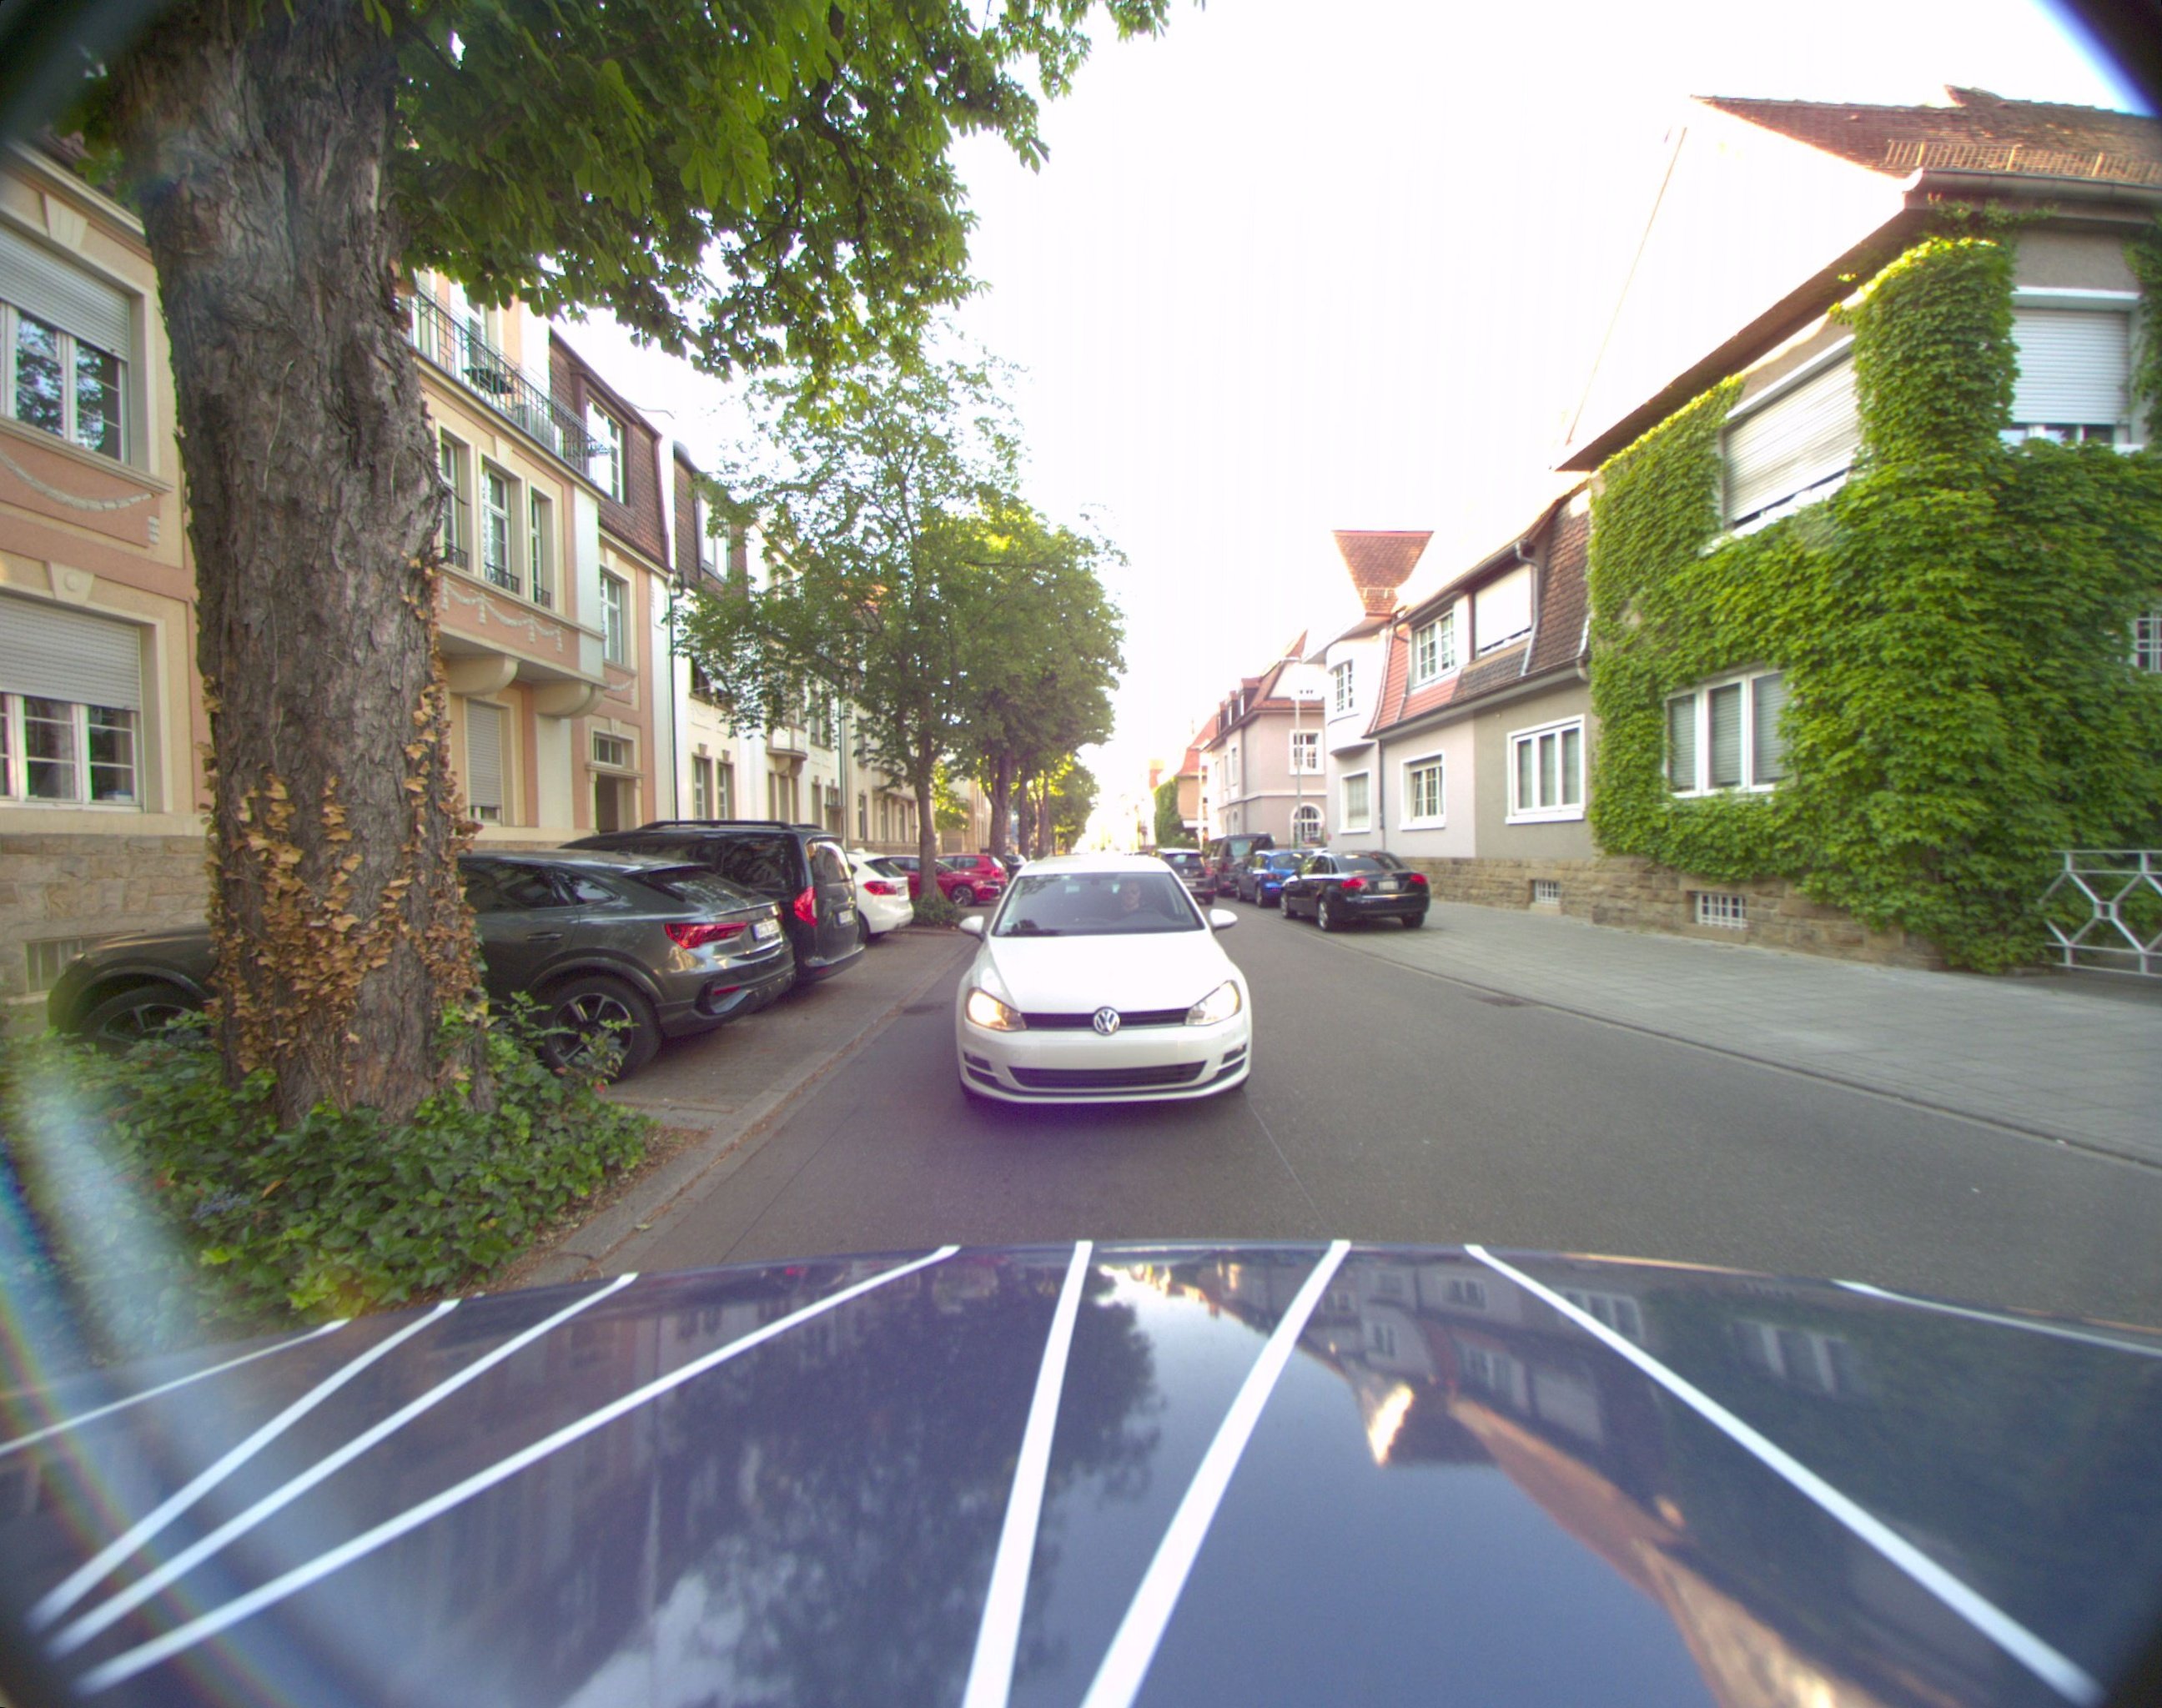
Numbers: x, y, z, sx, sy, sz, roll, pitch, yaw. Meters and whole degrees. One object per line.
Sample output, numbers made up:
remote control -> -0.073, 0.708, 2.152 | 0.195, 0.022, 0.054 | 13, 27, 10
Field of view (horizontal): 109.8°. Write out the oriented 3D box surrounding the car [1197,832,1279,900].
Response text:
car -> 5.130, 0.325, 25.392 | 1.719, 1.961, 4.310 | -4, 1, 0

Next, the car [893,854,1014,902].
car -> -4.033, 0.756, 24.396 | 3.622, 1.456, 1.537 | 1, 1, 0

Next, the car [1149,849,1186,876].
car -> 4.792, 0.444, 42.418 | 1.541, 1.363, 3.945 | -3, 0, 0

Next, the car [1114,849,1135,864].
car -> 4.594, 0.231, 80.717 | 1.643, 1.461, 3.688 | -3, 1, -4

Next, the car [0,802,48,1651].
car -> -4.658, 0.793, 0.572 | 4.835, 1.814, 1.880 | 1, 1, -4

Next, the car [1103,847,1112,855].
car -> 5.270, -0.591, 149.421 | 1.643, 1.461, 3.689 | -3, 1, 0

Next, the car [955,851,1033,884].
car -> -4.187, 0.629, 36.906 | 3.622, 1.555, 1.537 | 0, 1, 0

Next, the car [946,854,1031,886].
car -> -4.127, 0.711, 34.153 | 3.622, 1.395, 1.537 | 0, 1, 0

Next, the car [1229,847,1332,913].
car -> 5.222, 0.624, 20.436 | 1.611, 1.455, 4.023 | -4, 1, 0

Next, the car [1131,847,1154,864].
car -> 5.508, 0.114, 68.396 | 1.643, 1.461, 3.945 | -3, 1, 0

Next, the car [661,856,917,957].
car -> -4.658, 0.822, 12.512 | 3.623, 1.541, 1.537 | 1, 1, -4

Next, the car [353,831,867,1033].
car -> -4.485, 0.706, 7.758 | 4.173, 1.816, 1.594 | 1, 1, -4

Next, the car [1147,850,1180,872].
car -> 5.460, 0.441, 50.753 | 1.719, 1.363, 3.945 | -3, 0, 0

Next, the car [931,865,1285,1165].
car -> 0.106, 0.870, 5.990 | 1.799, 1.420, 4.023 | -2, 0, -1

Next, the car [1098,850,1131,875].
car -> 2.039, 0.493, 47.728 | 1.786, 1.453, 4.299 | 1, 0, -1

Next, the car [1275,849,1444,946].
car -> 5.076, 0.698, 14.471 | 1.751, 1.421, 4.023 | -4, 1, 1

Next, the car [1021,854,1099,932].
car -> -0.394, 0.794, 17.225 | 1.560, 1.546, 3.738 | 1, 0, 1

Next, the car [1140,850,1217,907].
car -> 2.759, 0.649, 22.242 | 1.620, 1.493, 3.591 | 1, 1, -3

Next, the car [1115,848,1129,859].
car -> 5.482, -0.083, 101.182 | 1.643, 1.461, 3.689 | -3, 1, 0

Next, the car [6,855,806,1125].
car -> -4.353, 0.836, 5.470 | 4.173, 1.583, 1.594 | 1, 1, -4

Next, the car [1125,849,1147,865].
car -> 5.434, 0.267, 75.426 | 1.643, 1.461, 3.688 | -3, 1, -4

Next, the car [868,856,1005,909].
car -> -4.070, 0.789, 21.821 | 3.622, 1.395, 1.537 | 1, 1, 0

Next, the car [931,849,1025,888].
car -> -4.160, 0.566, 30.999 | 3.622, 1.555, 1.537 | 0, 1, 0

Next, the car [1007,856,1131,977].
car -> -0.133, 0.832, 11.993 | 1.600, 1.546, 4.000 | 1, 0, 1
